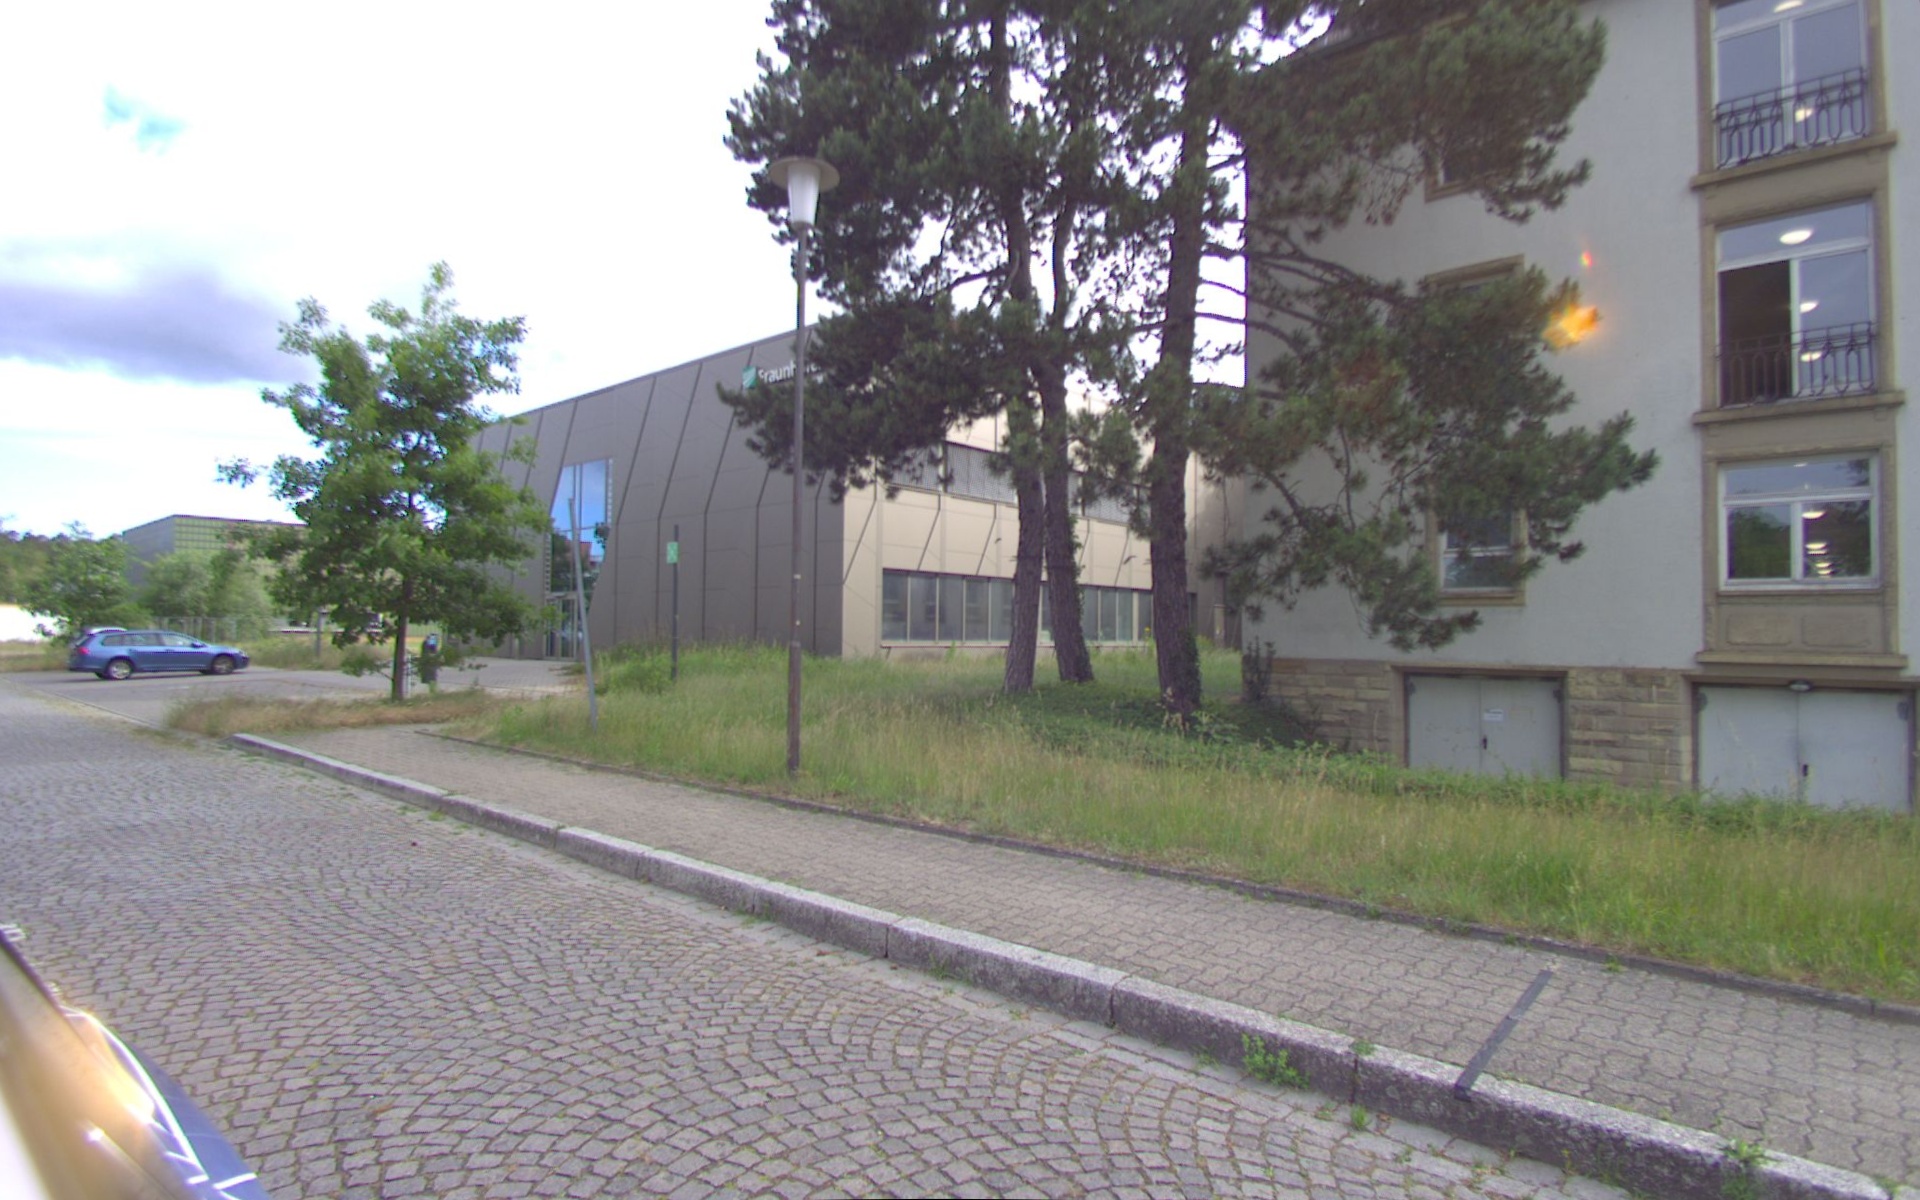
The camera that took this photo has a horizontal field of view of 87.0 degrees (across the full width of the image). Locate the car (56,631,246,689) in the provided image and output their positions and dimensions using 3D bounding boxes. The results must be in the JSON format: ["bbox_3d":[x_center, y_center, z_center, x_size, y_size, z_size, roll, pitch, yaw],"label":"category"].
[{"bbox_3d":[-25.081,1.799,31.513,1.715,1.522,4.349,-1,0,38],"label":"car"}]

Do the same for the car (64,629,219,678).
[{"bbox_3d":[-29.972,1.921,37.116,4.339,1.557,1.843,-1,-1,-42],"label":"car"}]
